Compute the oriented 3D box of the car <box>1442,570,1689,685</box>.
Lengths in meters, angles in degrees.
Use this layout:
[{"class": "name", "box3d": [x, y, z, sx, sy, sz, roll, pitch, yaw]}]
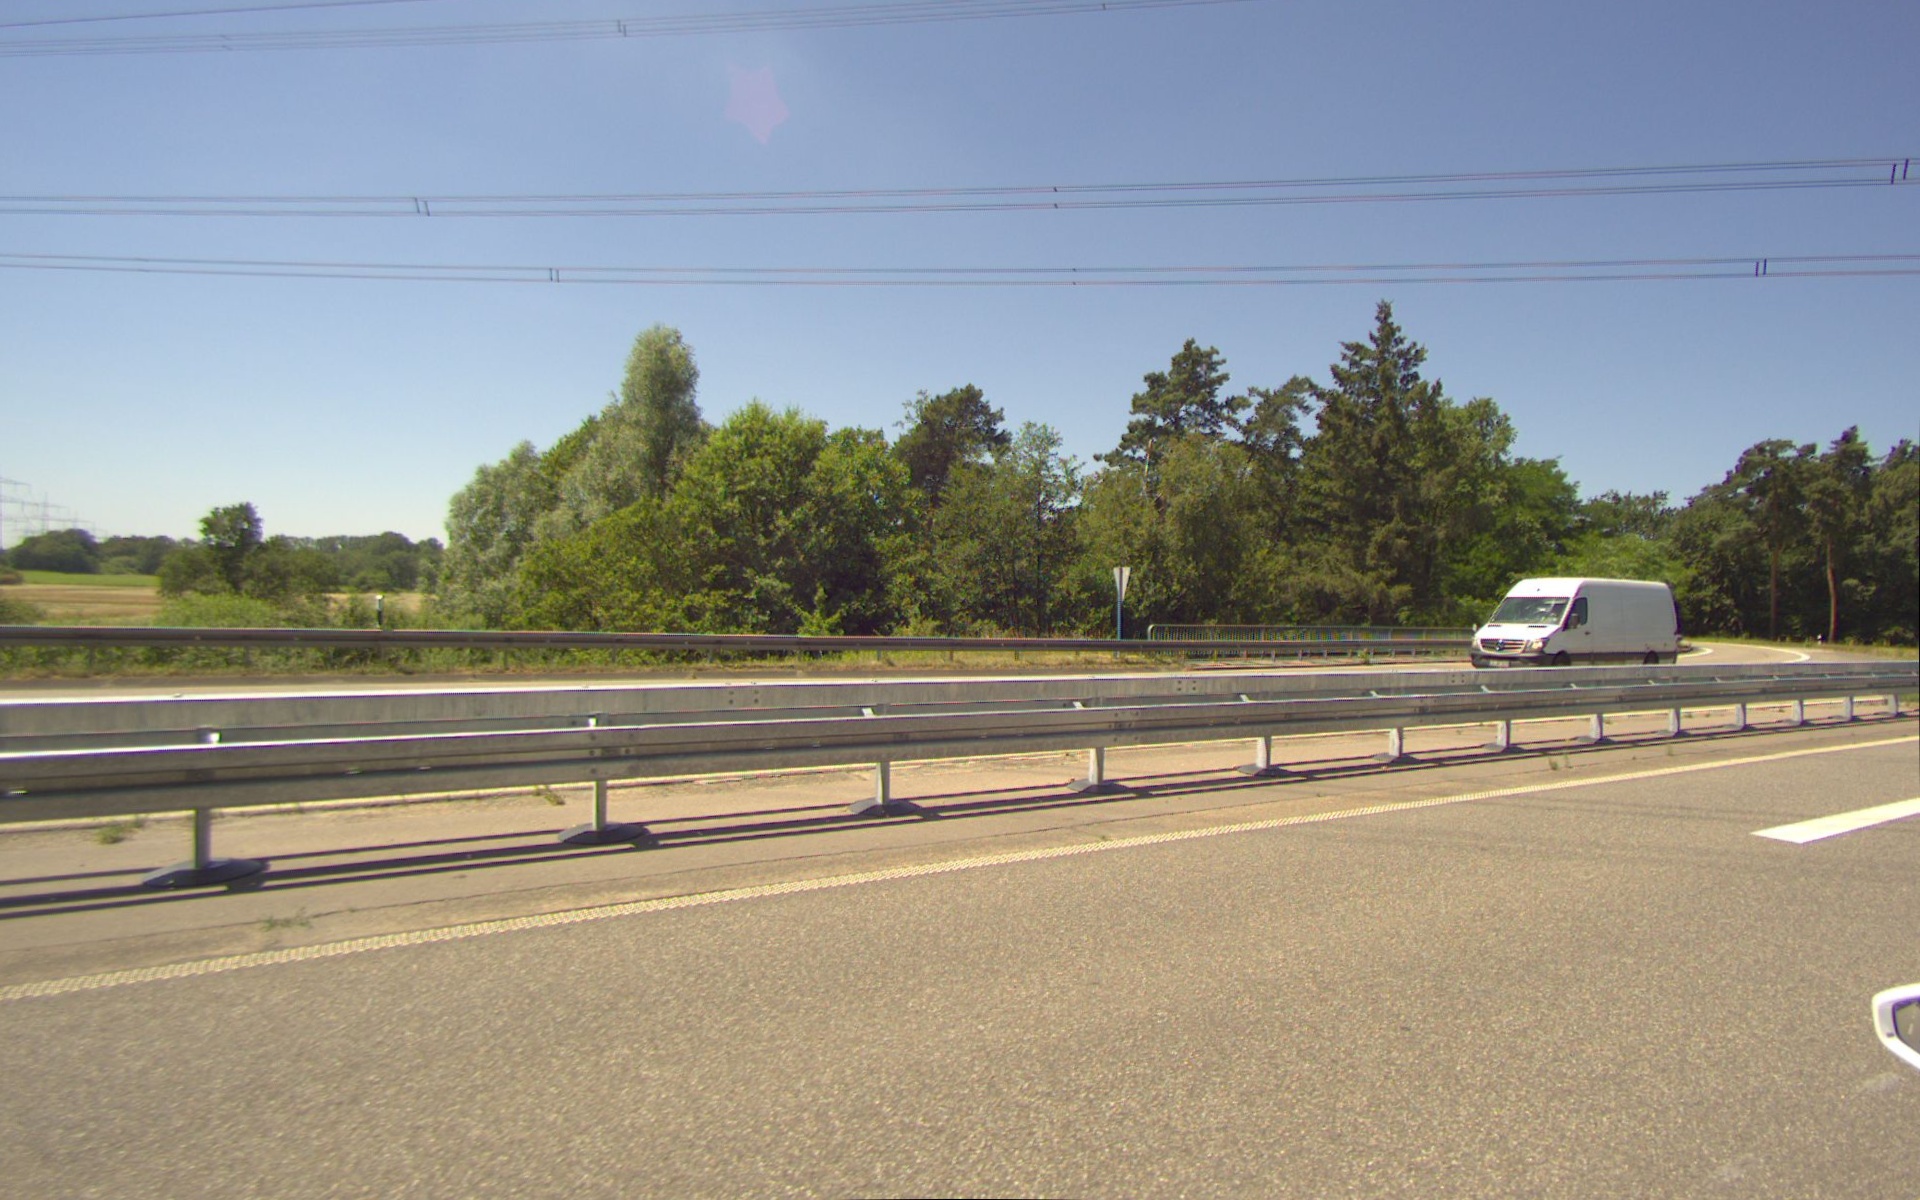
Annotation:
[{"class": "car", "box3d": [15.878, 0.753, 26.191, 7.103, 2.652, 2.512, 2, -2, -31]}]
